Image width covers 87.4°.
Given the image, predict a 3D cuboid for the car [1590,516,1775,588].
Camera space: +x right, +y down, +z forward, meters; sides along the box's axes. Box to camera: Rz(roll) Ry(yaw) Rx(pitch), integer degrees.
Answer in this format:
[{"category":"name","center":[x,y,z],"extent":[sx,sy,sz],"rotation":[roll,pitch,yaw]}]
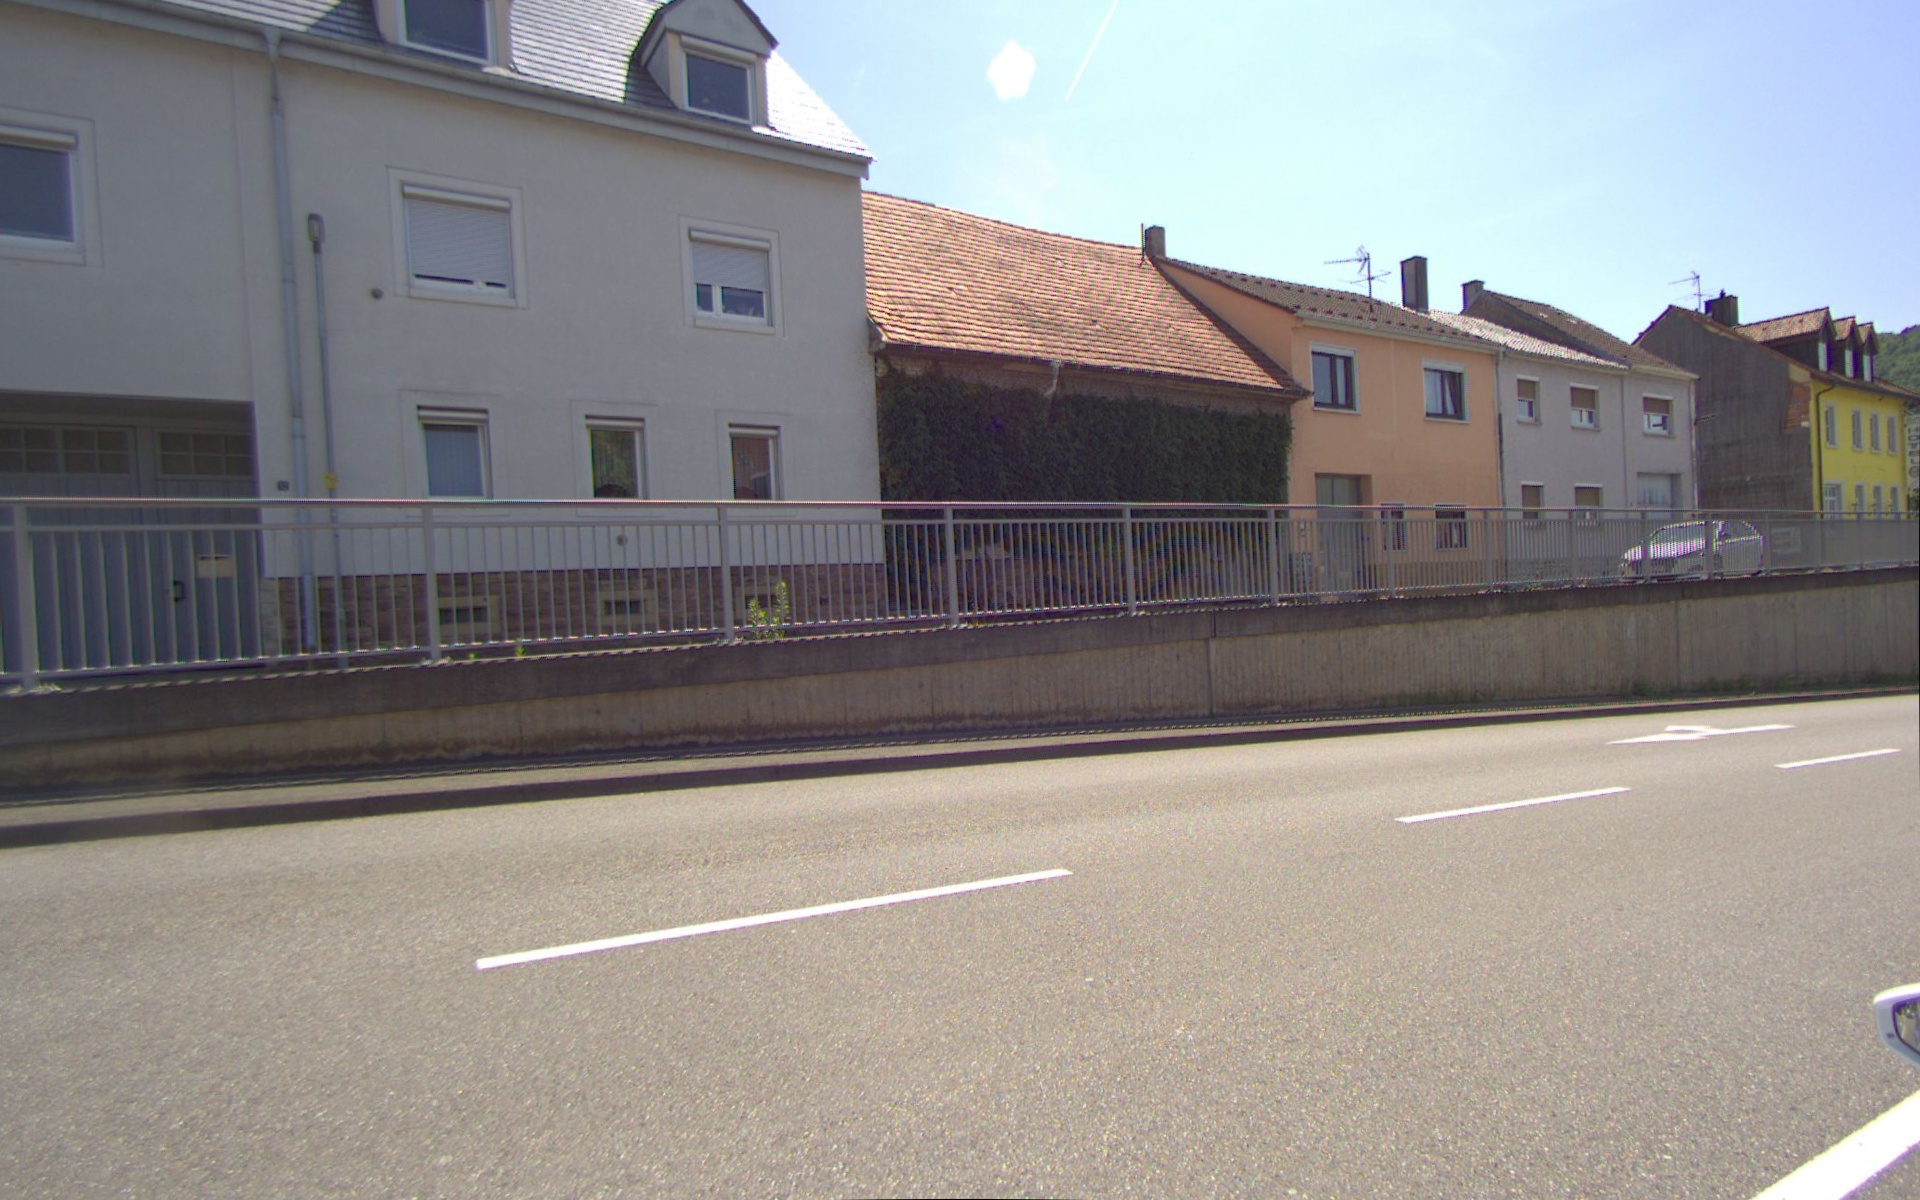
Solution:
[{"category":"car","center":[16.283,-1.090,22.598],"extent":[4.258,1.482,1.804],"rotation":[-3,2,-30]}]
